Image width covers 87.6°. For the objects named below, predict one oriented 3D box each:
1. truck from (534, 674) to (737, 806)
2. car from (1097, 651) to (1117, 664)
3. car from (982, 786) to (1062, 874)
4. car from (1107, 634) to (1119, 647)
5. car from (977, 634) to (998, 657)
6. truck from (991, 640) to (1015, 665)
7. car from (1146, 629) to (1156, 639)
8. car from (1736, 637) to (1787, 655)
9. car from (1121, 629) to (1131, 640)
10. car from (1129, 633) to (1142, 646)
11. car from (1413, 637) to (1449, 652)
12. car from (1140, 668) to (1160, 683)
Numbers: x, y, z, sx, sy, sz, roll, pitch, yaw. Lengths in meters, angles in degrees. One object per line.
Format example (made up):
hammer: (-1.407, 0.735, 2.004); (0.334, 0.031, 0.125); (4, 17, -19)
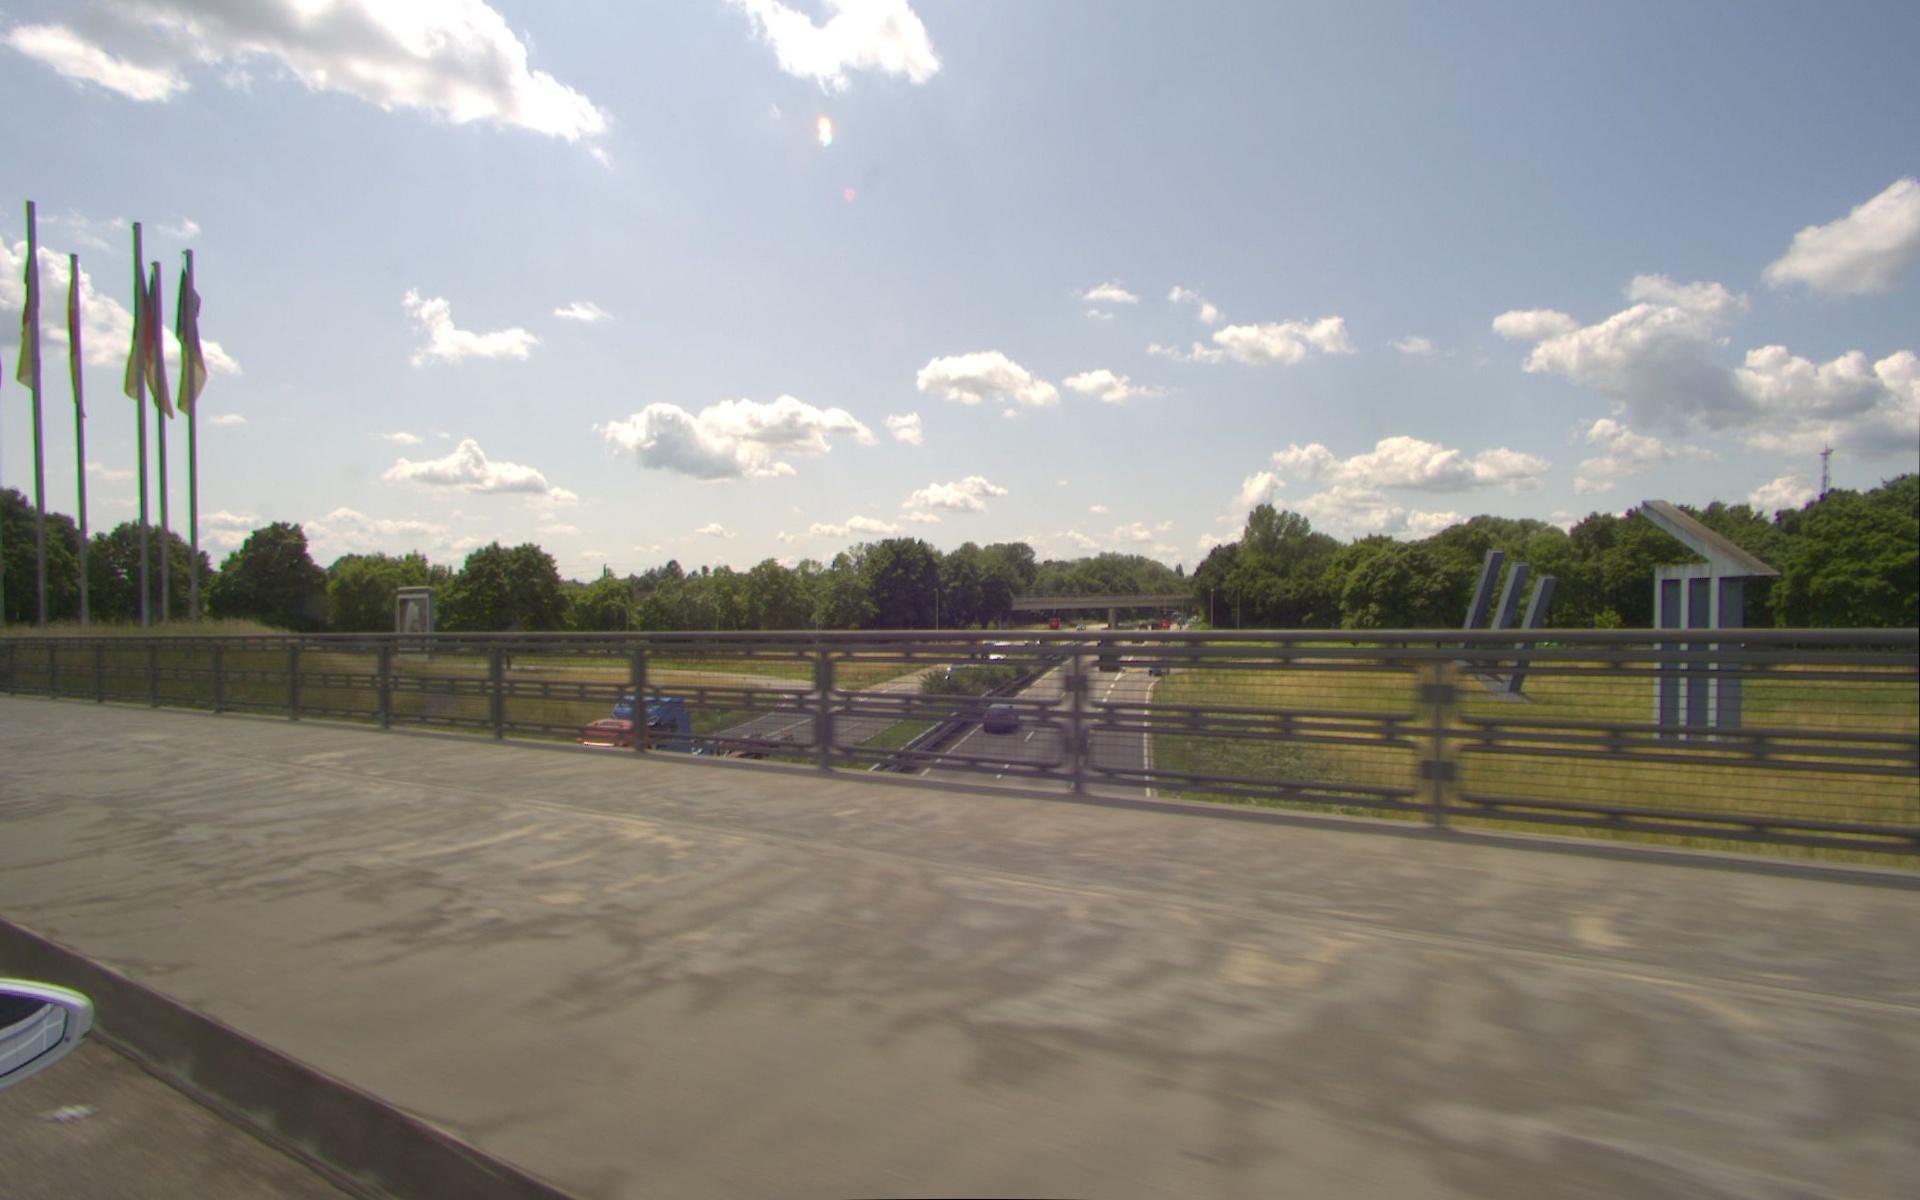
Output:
truck: (-13.453, 5.656, 42.887); (3.941, 4.460, 9.629); (1, -1, 12)
car: (16.212, 6.304, 110.224); (1.962, 1.304, 3.999); (1, -1, 11)
car: (2.002, 7.101, 31.381); (1.962, 1.861, 3.999); (1, -1, 11)
car: (25.644, 6.760, 167.338); (1.962, 2.039, 4.000); (1, -1, 9)
car: (3.503, 5.807, 128.128); (1.962, 2.937, 3.999); (1, -1, 11)
truck: (5.090, 6.094, 117.333); (1.962, 2.737, 6.618); (1, -1, 9)
car: (39.629, 6.967, 207.720); (1.962, 2.039, 4.000); (1, -1, 9)
car: (87.684, 4.993, 109.584); (1.967, 1.906, 3.989); (1, -1, -21)
car: (31.908, 6.592, 192.417); (1.962, 2.039, 4.000); (1, -1, 9)
car: (28.156, 6.388, 160.797); (1.962, 2.039, 4.000); (1, -1, 9)
car: (64.362, 6.023, 136.818); (3.958, 1.906, 1.983); (0, -2, 44)
car: (19.905, 7.872, 104.840); (1.962, 1.304, 3.999); (1, -1, 11)
